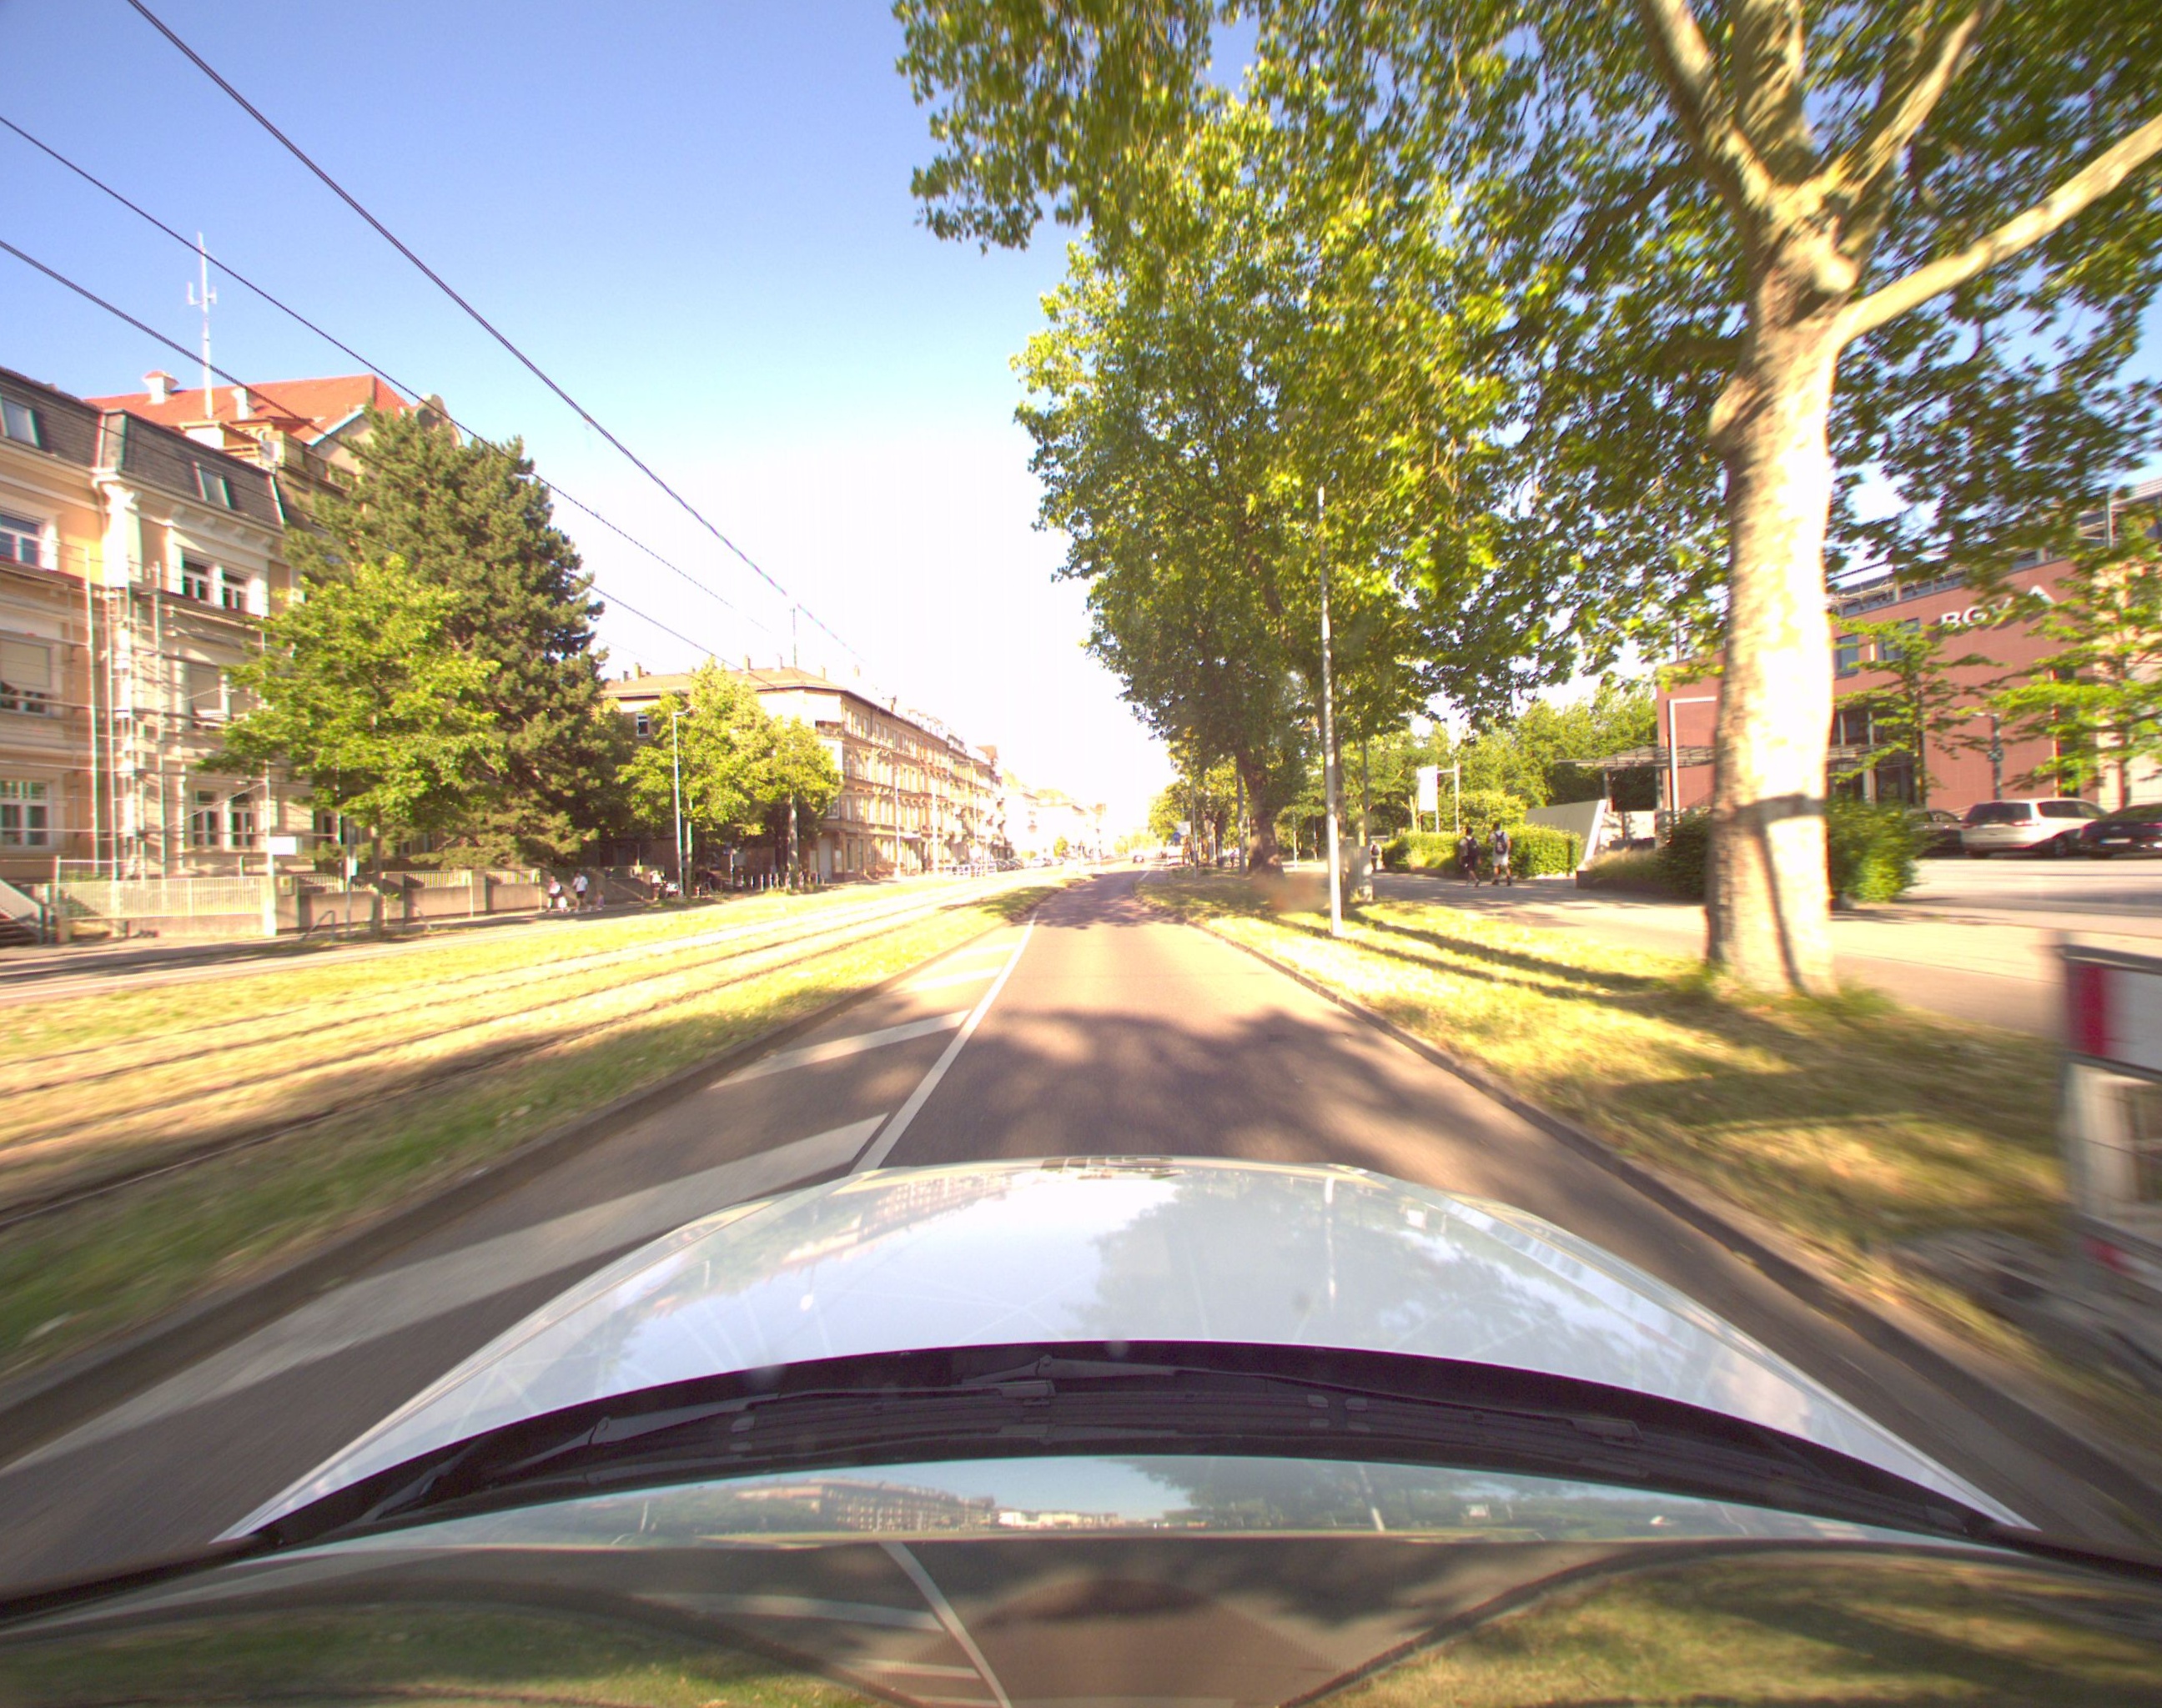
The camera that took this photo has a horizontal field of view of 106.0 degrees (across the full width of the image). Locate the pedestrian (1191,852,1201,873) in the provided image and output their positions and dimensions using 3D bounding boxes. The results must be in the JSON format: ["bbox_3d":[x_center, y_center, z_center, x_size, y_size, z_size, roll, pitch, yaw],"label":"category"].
[{"bbox_3d":[9.471,0.717,66.978,0.657,1.647,0.864,-4,-1,6],"label":"pedestrian"}]

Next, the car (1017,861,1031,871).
[{"bbox_3d":[-9.059,1.953,129.888,1.554,1.457,3.671,0,1,5],"label":"car"}]

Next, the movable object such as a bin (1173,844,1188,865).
[{"bbox_3d":[15.395,0.076,126.480,1.958,3.013,4.804,-5,-1,5],"label":"movable object such as a bin"}]

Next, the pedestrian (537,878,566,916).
[{"bbox_3d":[-22.423,1.792,34.486,0.647,1.539,0.784,-3,-1,4],"label":"pedestrian"}]

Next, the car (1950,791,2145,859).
[{"bbox_3d":[28.281,-0.840,23.854,4.679,1.713,1.839,-3,1,-15],"label":"car"}]

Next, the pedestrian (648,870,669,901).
[{"bbox_3d":[-21.974,1.641,42.352,0.615,1.593,0.798,0,0,4],"label":"pedestrian"}]

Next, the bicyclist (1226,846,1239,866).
[{"bbox_3d":[12.186,0.161,65.550,0.899,1.496,0.767,-2,0,4],"label":"bicyclist"}]

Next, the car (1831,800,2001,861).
[{"bbox_3d":[27.525,-0.780,26.883,4.679,1.713,1.839,-3,1,-15],"label":"car"}]

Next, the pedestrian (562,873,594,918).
[{"bbox_3d":[-20.718,1.699,33.583,0.647,1.775,0.889,-3,-1,5],"label":"pedestrian"}]

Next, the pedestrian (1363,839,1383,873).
[{"bbox_3d":[13.651,0.074,38.070,0.646,1.539,0.784,-3,-1,6],"label":"pedestrian"}]

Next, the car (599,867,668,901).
[{"bbox_3d":[-28.722,1.884,52.236,4.554,2.014,2.013,0,0,35],"label":"car"}]

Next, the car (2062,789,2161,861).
[{"bbox_3d":[28.065,-0.811,20.927,4.679,1.713,1.839,-3,1,-15],"label":"car"}]

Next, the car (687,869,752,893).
[{"bbox_3d":[-23.465,1.768,52.858,4.137,1.471,2.013,-1,-1,35],"label":"car"}]

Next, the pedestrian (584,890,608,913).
[{"bbox_3d":[-21.037,2.041,35.328,0.645,0.932,0.587,-3,-1,11],"label":"pedestrian"}]

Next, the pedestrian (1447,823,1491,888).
[{"bbox_3d":[11.233,0.048,23.615,0.746,1.793,1.088,-3,-1,6],"label":"pedestrian"}]

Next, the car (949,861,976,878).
[{"bbox_3d":[-13.461,1.723,92.536,2.005,1.754,4.565,0,1,5],"label":"car"}]

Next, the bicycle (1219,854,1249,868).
[{"bbox_3d":[12.312,0.533,65.554,2.250,1.040,0.767,-2,0,4],"label":"bicycle"}]

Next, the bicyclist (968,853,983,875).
[{"bbox_3d":[-8.521,0.833,65.812,0.757,1.715,0.927,-2,0,24],"label":"bicyclist"}]

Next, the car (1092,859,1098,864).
[{"bbox_3d":[4.196,2.216,247.714,1.519,1.560,3.228,0,1,5],"label":"car"}]

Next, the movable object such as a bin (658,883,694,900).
[{"bbox_3d":[-21.524,1.973,43.357,1.239,0.865,1.238,0,-1,4],"label":"movable object such as a bin"}]

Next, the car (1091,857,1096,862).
[{"bbox_3d":[3.983,1.731,256.650,1.519,1.610,3.228,0,1,5],"label":"car"}]

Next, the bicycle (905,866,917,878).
[{"bbox_3d":[-17.576,1.877,84.427,0.695,1.180,1.754,0,0,6],"label":"bicycle"}]

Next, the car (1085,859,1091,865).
[{"bbox_3d":[2.026,2.174,230.885,1.519,1.560,3.228,0,1,5],"label":"car"}]

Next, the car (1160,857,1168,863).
[{"bbox_3d":[25.324,1.898,247.341,1.987,1.860,3.999,0,0,0],"label":"car"}]

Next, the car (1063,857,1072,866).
[{"bbox_3d":[-3.024,1.735,187.486,1.650,2.139,3.531,0,1,5],"label":"car"}]

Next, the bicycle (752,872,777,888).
[{"bbox_3d":[-24.418,2.001,62.877,0.781,1.179,2.245,0,0,7],"label":"bicycle"}]

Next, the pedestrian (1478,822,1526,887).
[{"bbox_3d":[12.123,0.017,23.497,0.801,1.793,1.112,-3,-1,6],"label":"pedestrian"}]

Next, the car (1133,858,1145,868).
[{"bbox_3d":[9.963,1.533,139.248,1.983,1.684,4.007,0,0,6],"label":"car"}]

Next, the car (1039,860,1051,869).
[{"bbox_3d":[-6.522,1.926,147.360,1.733,1.560,3.773,0,1,5],"label":"car"}]

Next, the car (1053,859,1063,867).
[{"bbox_3d":[-4.725,1.851,168.294,1.519,1.560,3.228,0,1,5],"label":"car"}]

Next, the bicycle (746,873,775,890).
[{"bbox_3d":[-24.105,2.033,61.215,0.779,1.179,2.250,0,0,17],"label":"bicycle"}]

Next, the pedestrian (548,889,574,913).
[{"bbox_3d":[-21.487,1.930,33.683,0.646,0.932,0.586,-3,-1,6],"label":"pedestrian"}]

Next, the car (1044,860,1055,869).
[{"bbox_3d":[-5.933,1.911,152.881,1.519,1.560,3.228,0,1,5],"label":"car"}]

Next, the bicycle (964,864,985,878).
[{"bbox_3d":[-8.559,1.367,65.667,0.757,1.040,1.971,-2,0,24],"label":"bicycle"}]

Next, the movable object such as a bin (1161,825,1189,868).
[{"bbox_3d":[11.994,-0.935,104.509,3.072,5.088,8.905,-5,-1,5],"label":"movable object such as a bin"}]

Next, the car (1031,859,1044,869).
[{"bbox_3d":[-7.626,1.708,142.675,1.733,1.560,3.773,0,1,5],"label":"car"}]

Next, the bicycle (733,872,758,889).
[{"bbox_3d":[-25.316,1.995,61.474,0.781,1.179,2.243,0,0,4],"label":"bicycle"}]

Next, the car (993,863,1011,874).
[{"bbox_3d":[-10.840,2.002,111.630,1.768,1.406,3.915,0,1,5],"label":"car"}]

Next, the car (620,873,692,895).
[{"bbox_3d":[-31.040,2.199,59.556,4.161,1.471,2.001,-1,-1,3],"label":"car"}]
